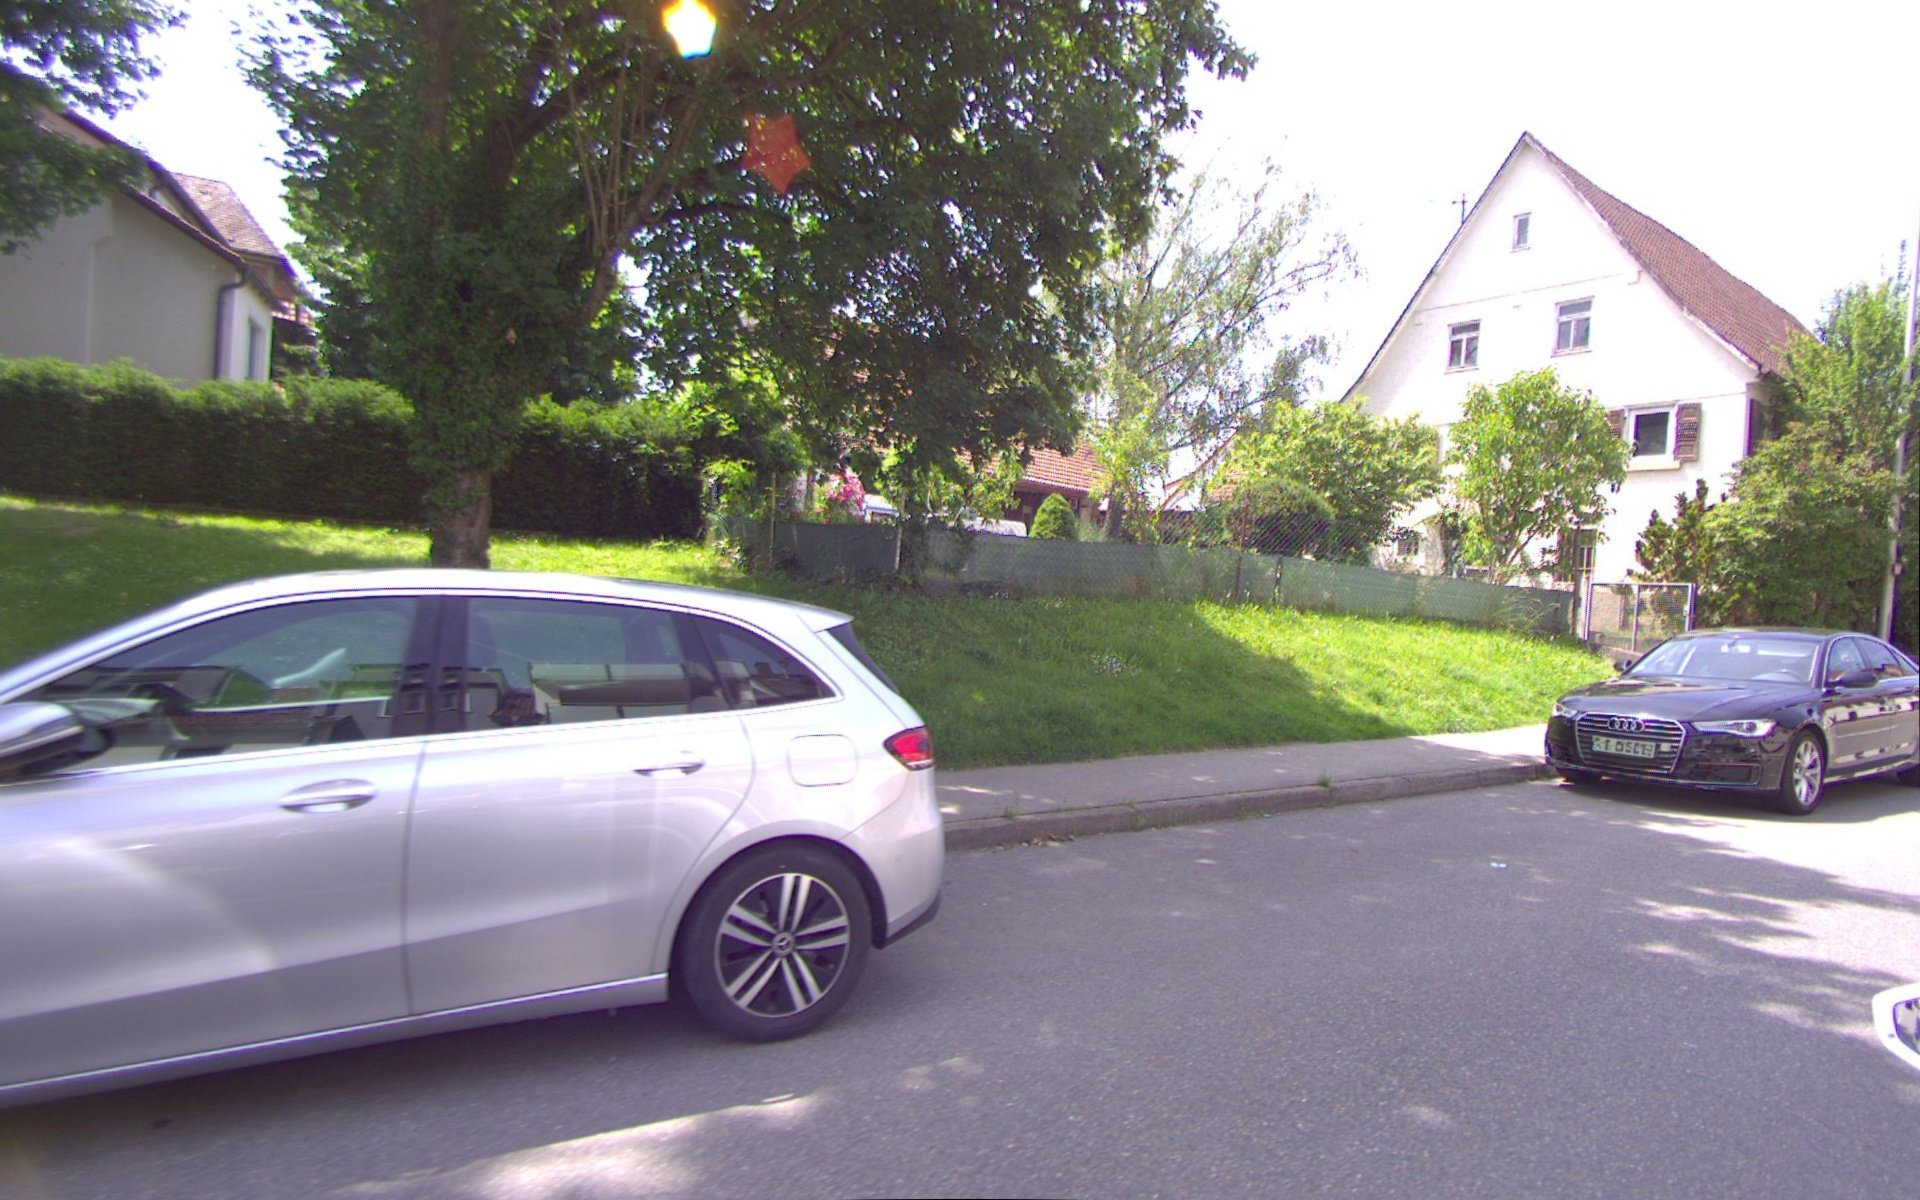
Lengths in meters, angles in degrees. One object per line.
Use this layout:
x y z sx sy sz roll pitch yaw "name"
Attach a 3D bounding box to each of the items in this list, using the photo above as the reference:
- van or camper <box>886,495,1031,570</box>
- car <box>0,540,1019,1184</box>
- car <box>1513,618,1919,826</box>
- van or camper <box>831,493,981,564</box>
-0.045 -2.062 31.147 3.951 2.041 1.985 2 3 -29 "van or camper"
-2.044 0.646 3.532 4.167 1.547 1.766 2 0 -27 "car"
7.427 0.934 9.333 4.871 1.443 1.795 1 1 -31 "car"
-1.767 -2.387 33.996 4.778 2.041 1.976 1 4 -40 "van or camper"
